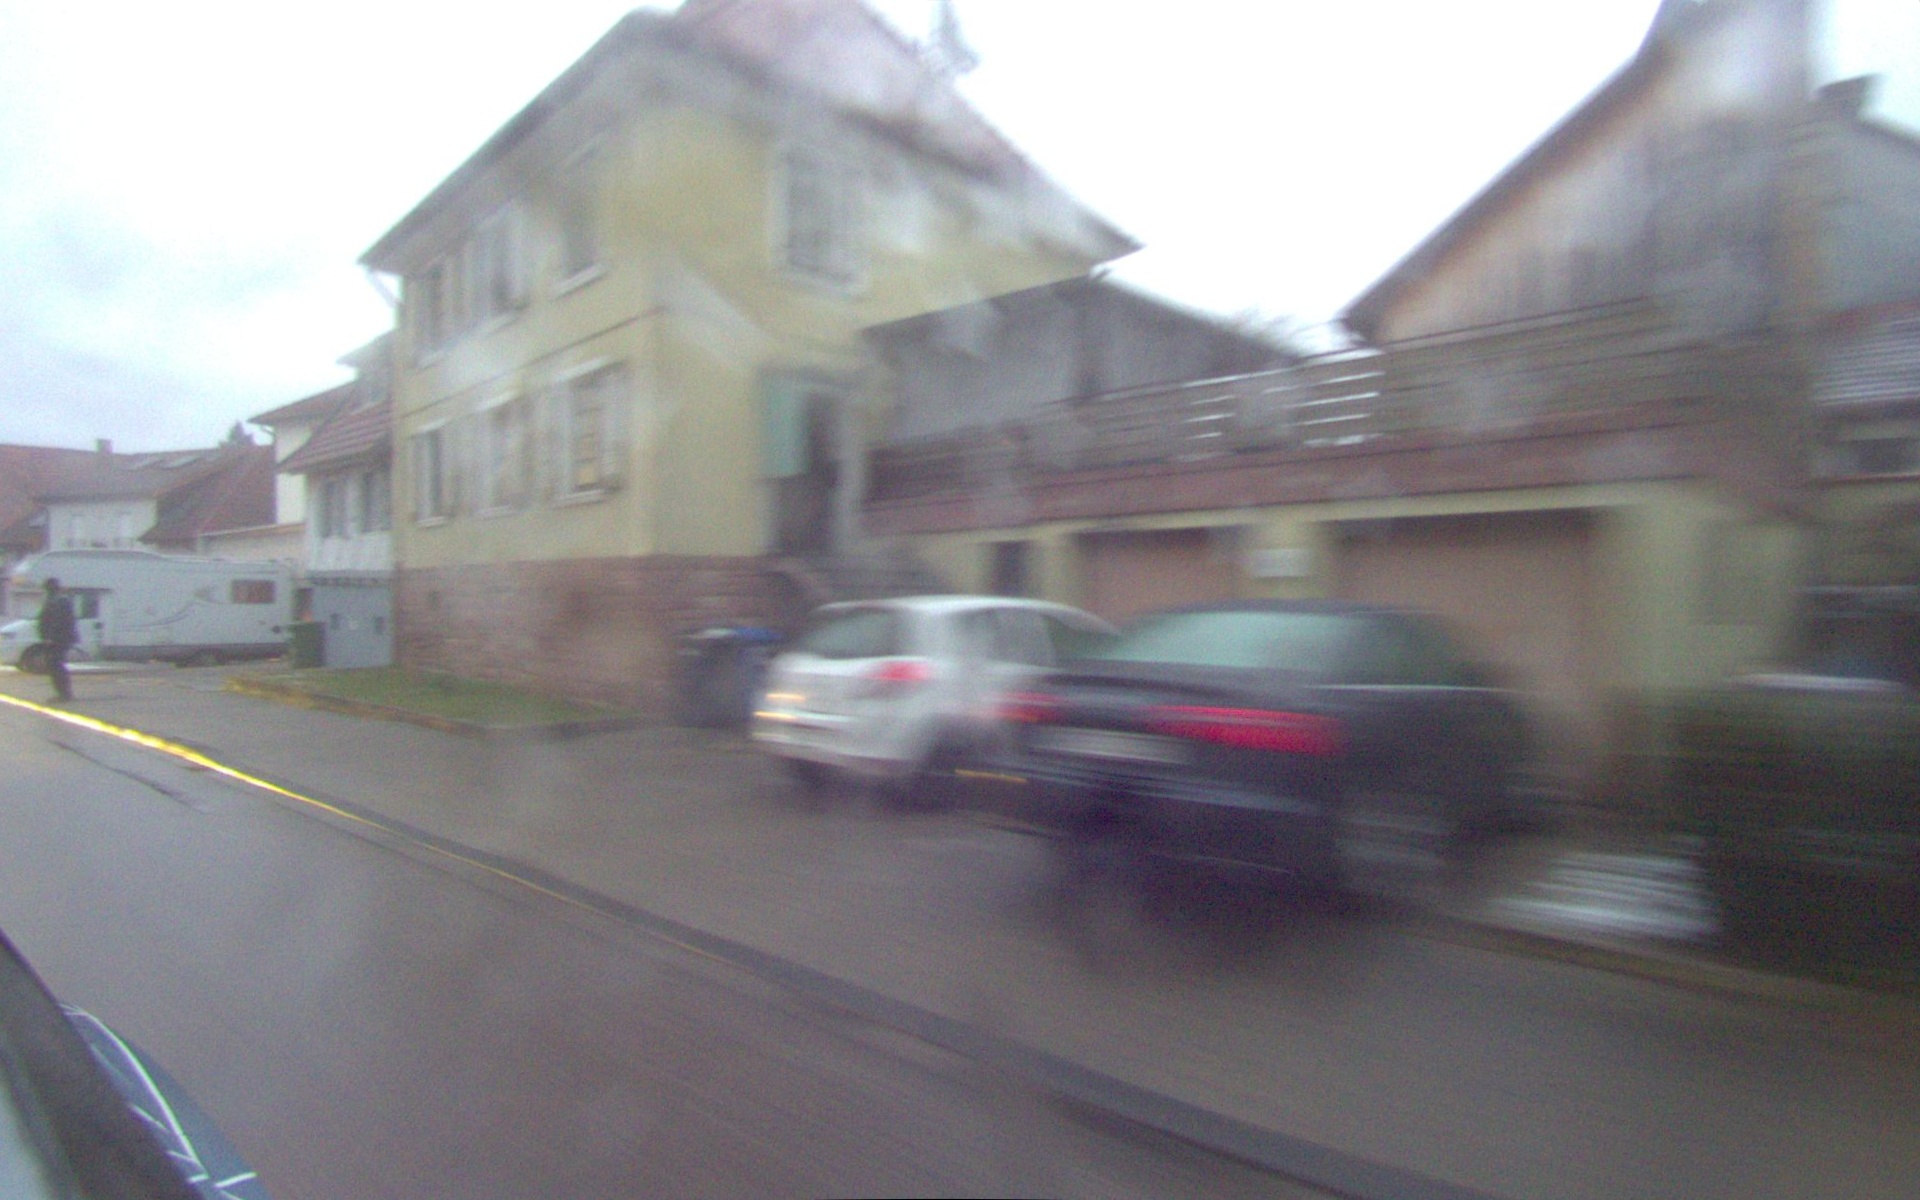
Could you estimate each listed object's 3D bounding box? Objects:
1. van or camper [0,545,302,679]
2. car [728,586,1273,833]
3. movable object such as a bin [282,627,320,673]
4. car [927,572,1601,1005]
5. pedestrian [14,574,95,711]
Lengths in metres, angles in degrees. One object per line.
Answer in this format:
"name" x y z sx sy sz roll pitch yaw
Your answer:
"van or camper" -20.388 0.373 25.419 2.322 2.964 5.996 -1 -3 40
"car" 0.575 0.679 8.340 4.549 1.481 1.893 1 -1 -44
"movable object such as a bin" -15.078 1.135 23.168 0.609 1.028 0.581 -1 0 -45
"car" 2.092 0.672 5.846 2.000 1.481 4.544 -1 -1 42
"pedestrian" -13.999 0.623 15.645 0.869 2.028 0.775 0 1 41
